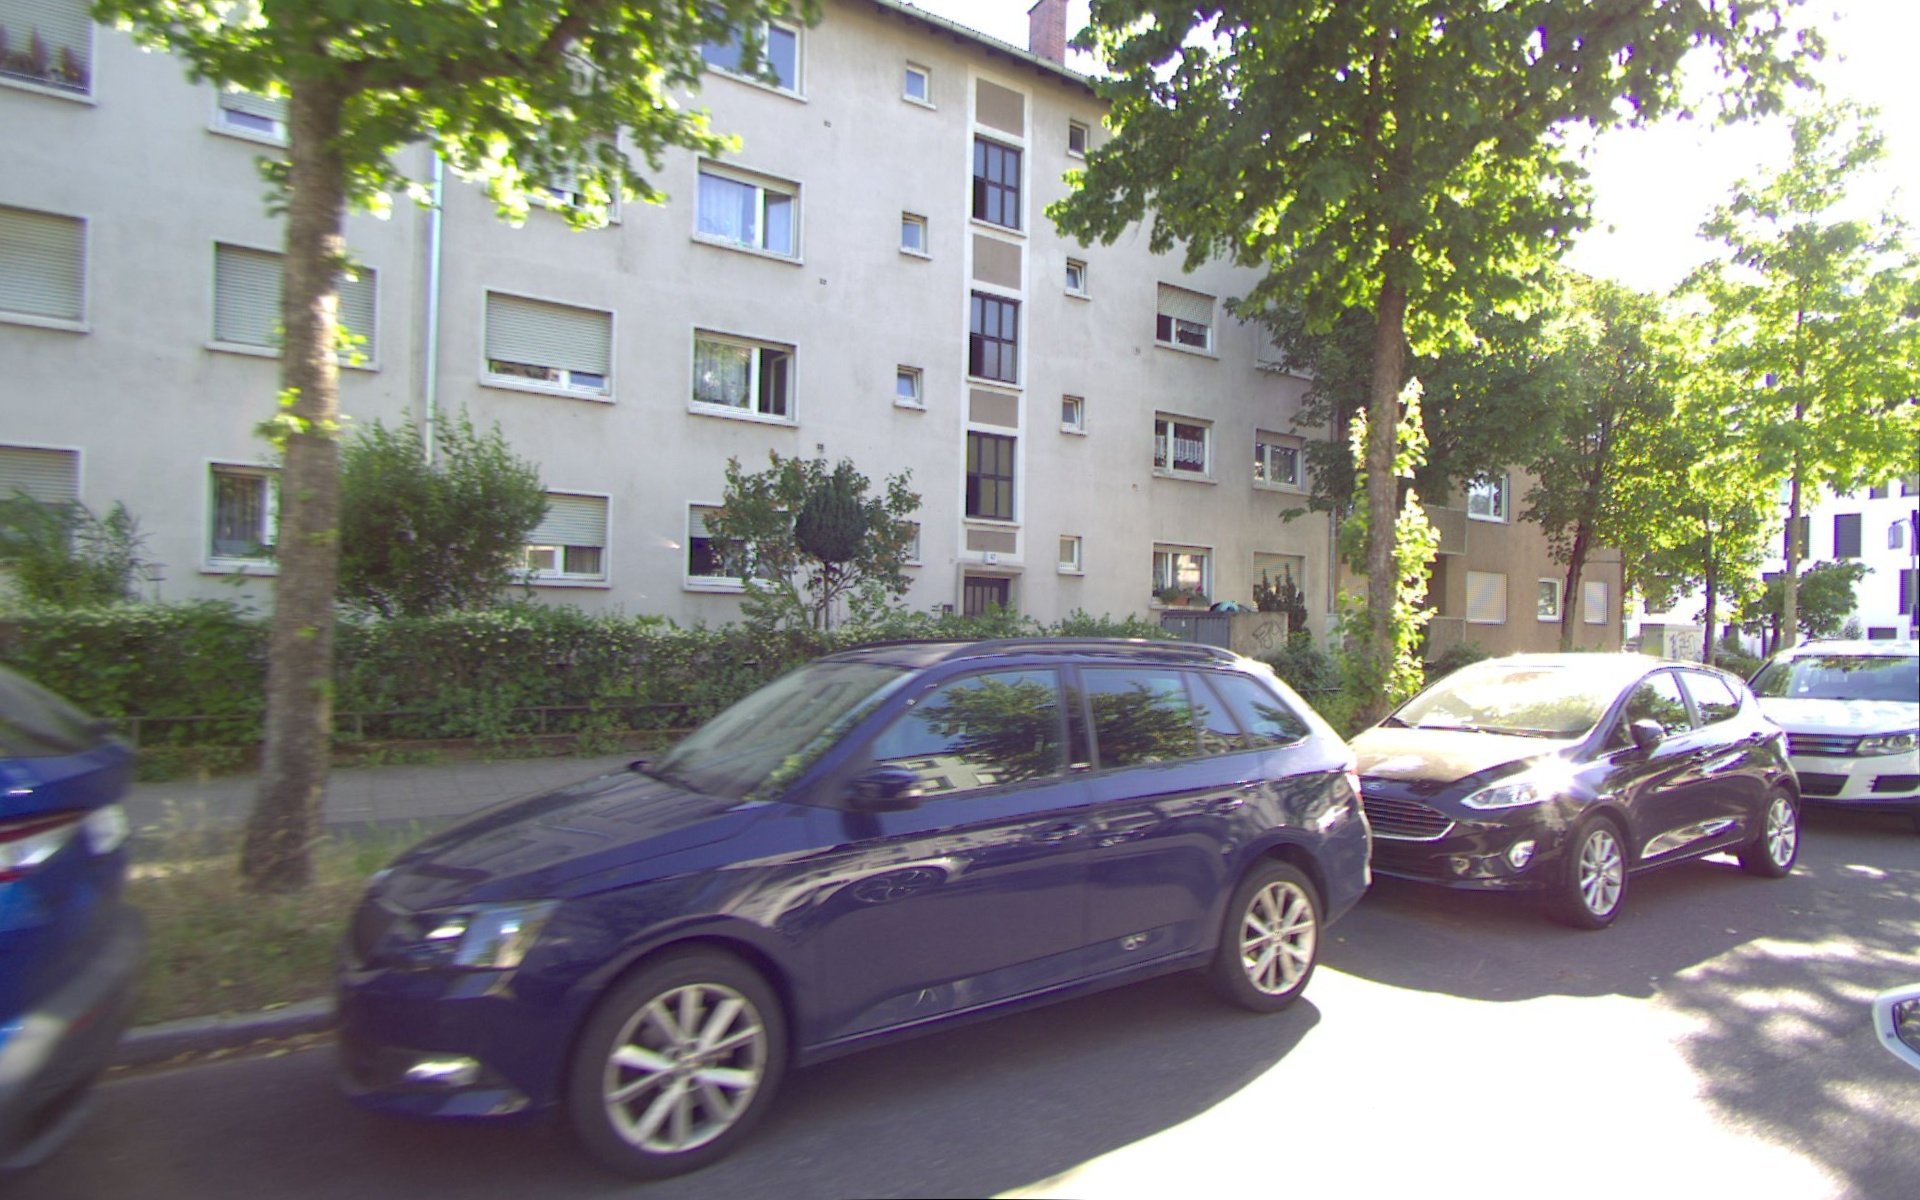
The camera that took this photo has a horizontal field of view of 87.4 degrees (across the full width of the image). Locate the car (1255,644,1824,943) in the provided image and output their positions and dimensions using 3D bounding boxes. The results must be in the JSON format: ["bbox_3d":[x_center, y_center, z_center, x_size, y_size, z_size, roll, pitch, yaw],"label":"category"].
[{"bbox_3d":[3.974,1.062,6.754,3.867,1.462,1.752,3,-3,-33],"label":"car"}]

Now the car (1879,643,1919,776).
[{"bbox_3d":[13.299,1.357,12.522,3.886,1.564,1.701,3,-3,-32],"label":"car"}]

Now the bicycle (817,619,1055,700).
[{"bbox_3d":[-0.295,0.940,16.161,3.965,1.151,1.095,3,-2,-38],"label":"bicycle"}]

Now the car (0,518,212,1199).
[{"bbox_3d":[-4.009,0.593,1.575,4.421,1.587,1.778,3,-4,-35],"label":"car"}]

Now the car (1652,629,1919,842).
[{"bbox_3d":[8.615,1.145,9.625,4.187,1.617,1.801,3,-2,-32],"label":"car"}]

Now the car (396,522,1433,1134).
[{"bbox_3d":[-0.016,0.646,4.305,4.077,1.472,1.819,3,-2,-32],"label":"car"}]

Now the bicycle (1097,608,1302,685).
[{"bbox_3d":[3.913,0.763,16.638,3.172,1.151,0.916,1,-1,2],"label":"bicycle"}]
